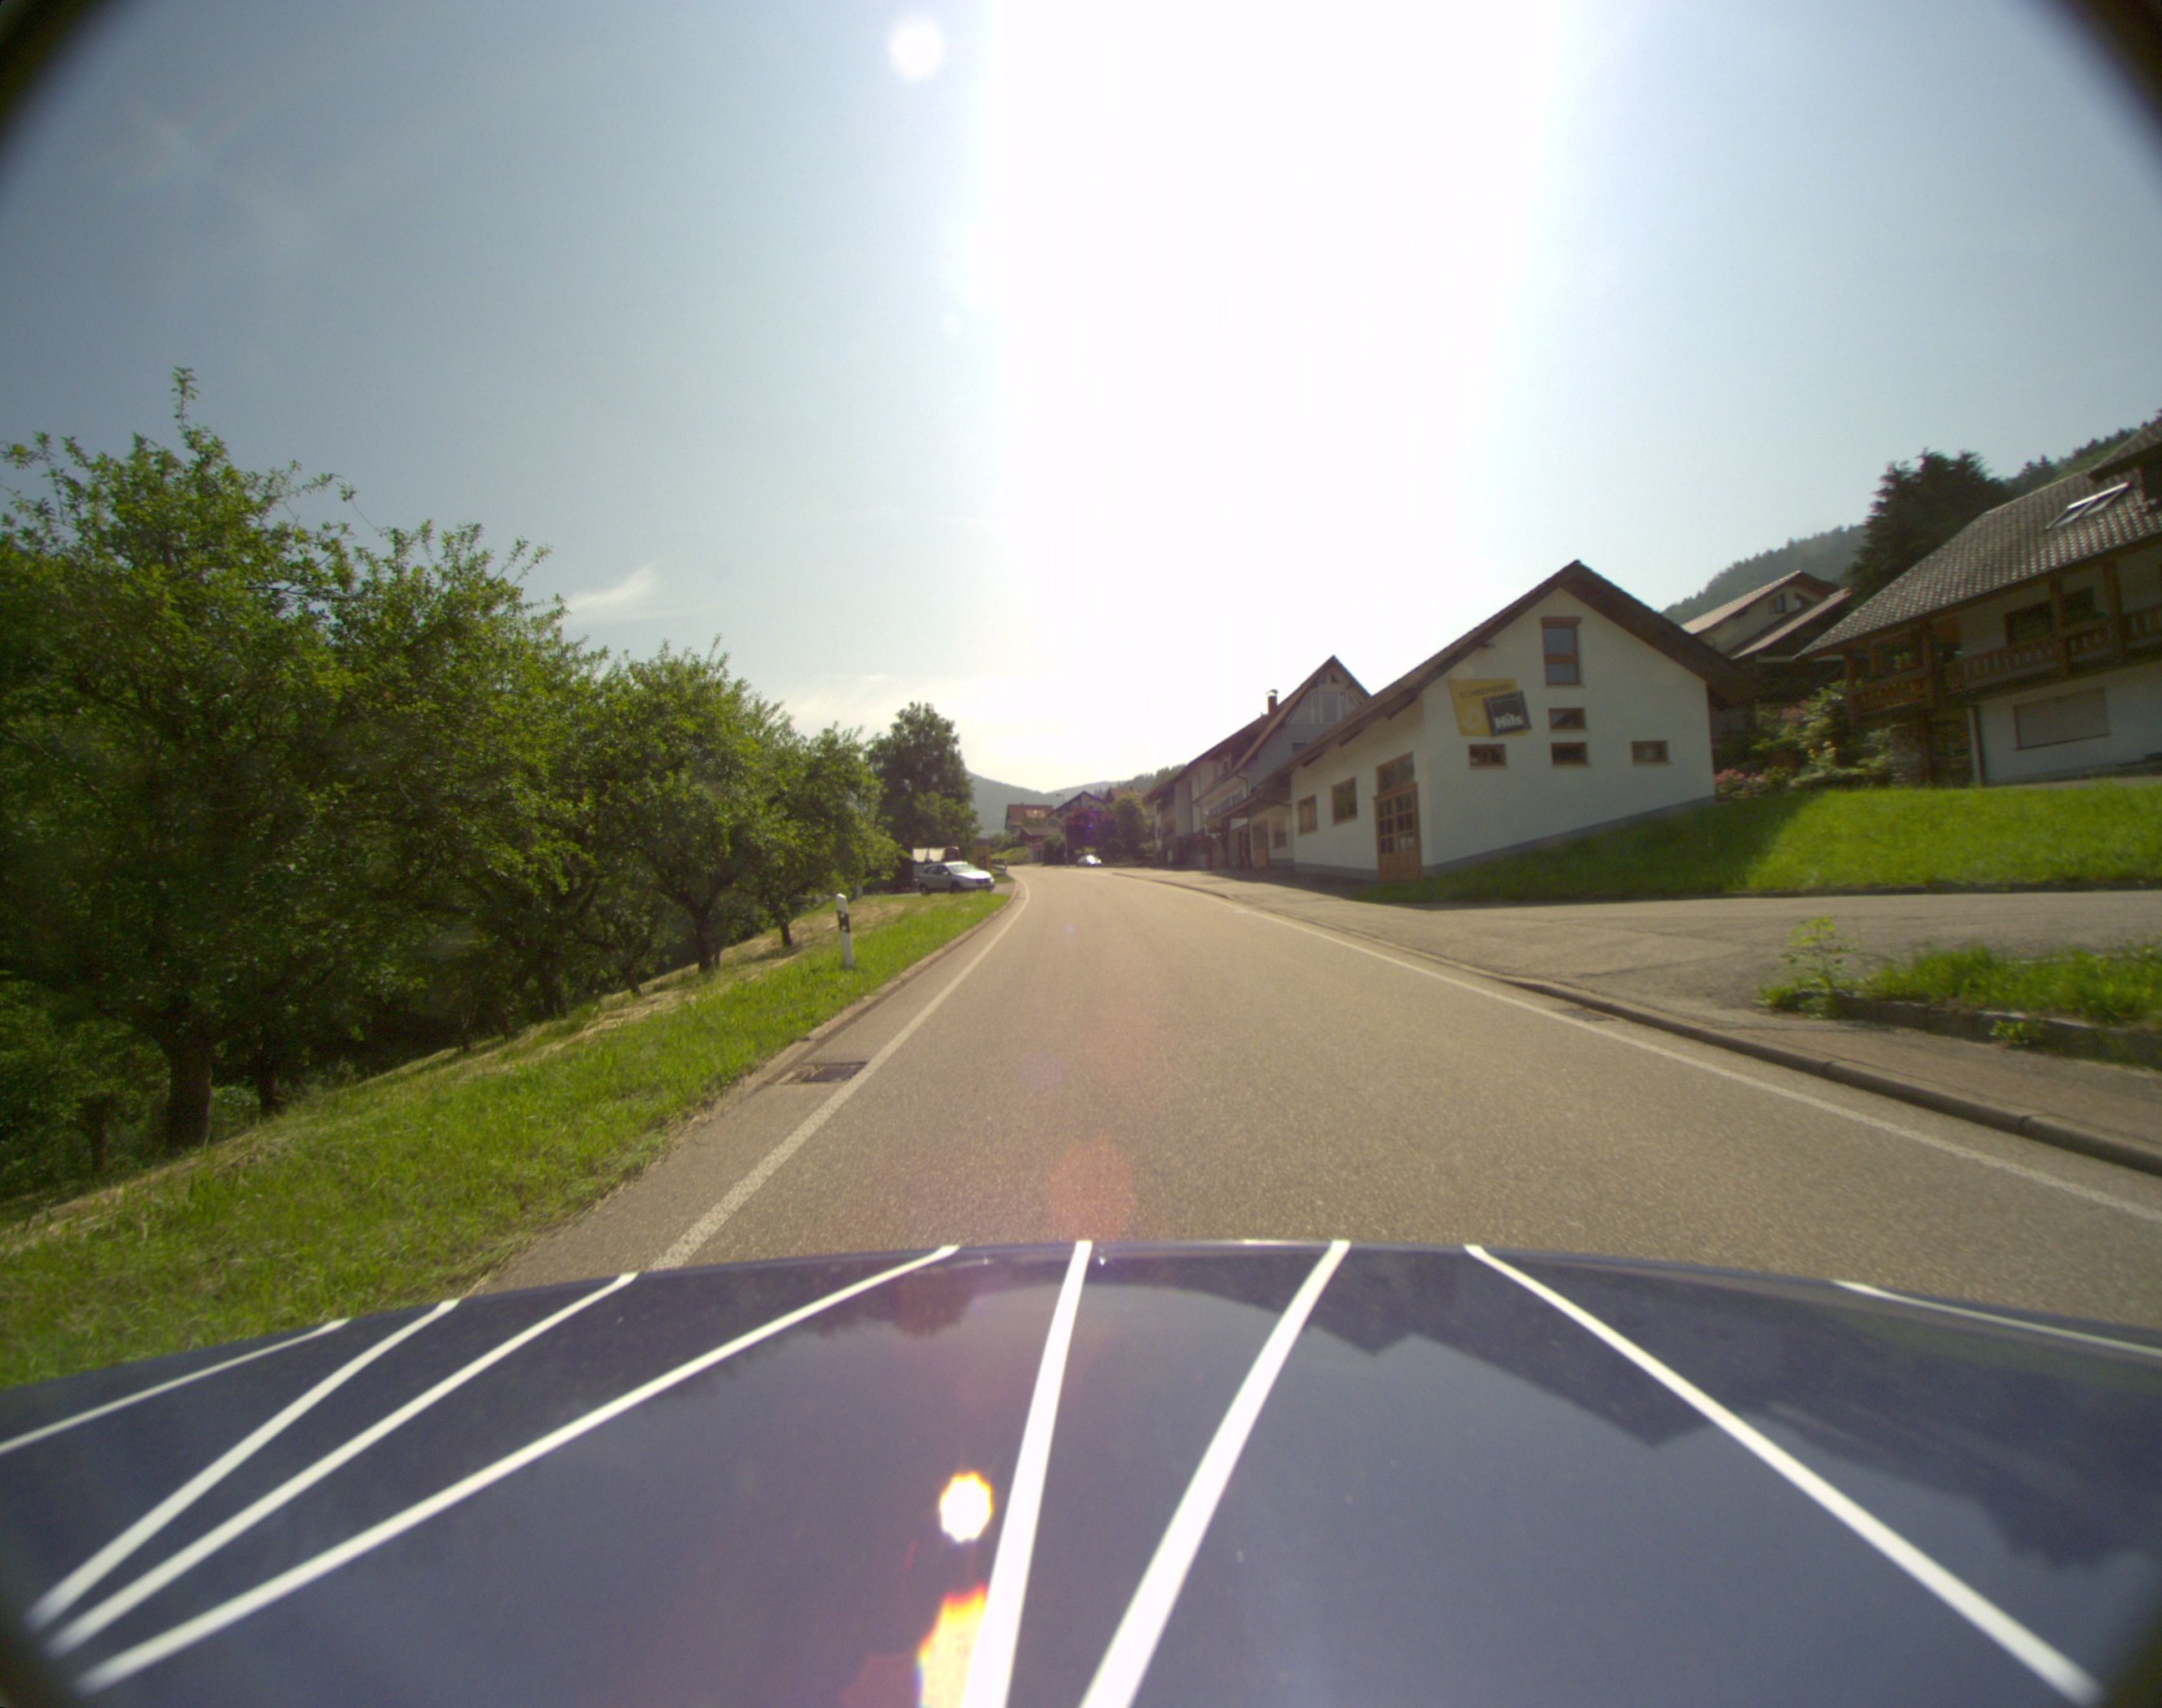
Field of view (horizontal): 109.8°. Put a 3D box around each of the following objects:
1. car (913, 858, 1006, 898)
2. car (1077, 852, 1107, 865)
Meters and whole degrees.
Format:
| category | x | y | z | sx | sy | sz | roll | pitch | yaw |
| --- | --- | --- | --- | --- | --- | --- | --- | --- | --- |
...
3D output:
| category | x | y | z | sx | sy | sz | roll | pitch | yaw |
| --- | --- | --- | --- | --- | --- | --- | --- | --- | --- |
| car | -5.615 | 1.124 | 34.773 | 1.909 | 1.562 | 4.451 | -5 | 0 | -44 |
| car | 1.163 | 0.446 | 83.458 | 1.789 | 1.331 | 4.688 | -2 | 0 | -18 |
